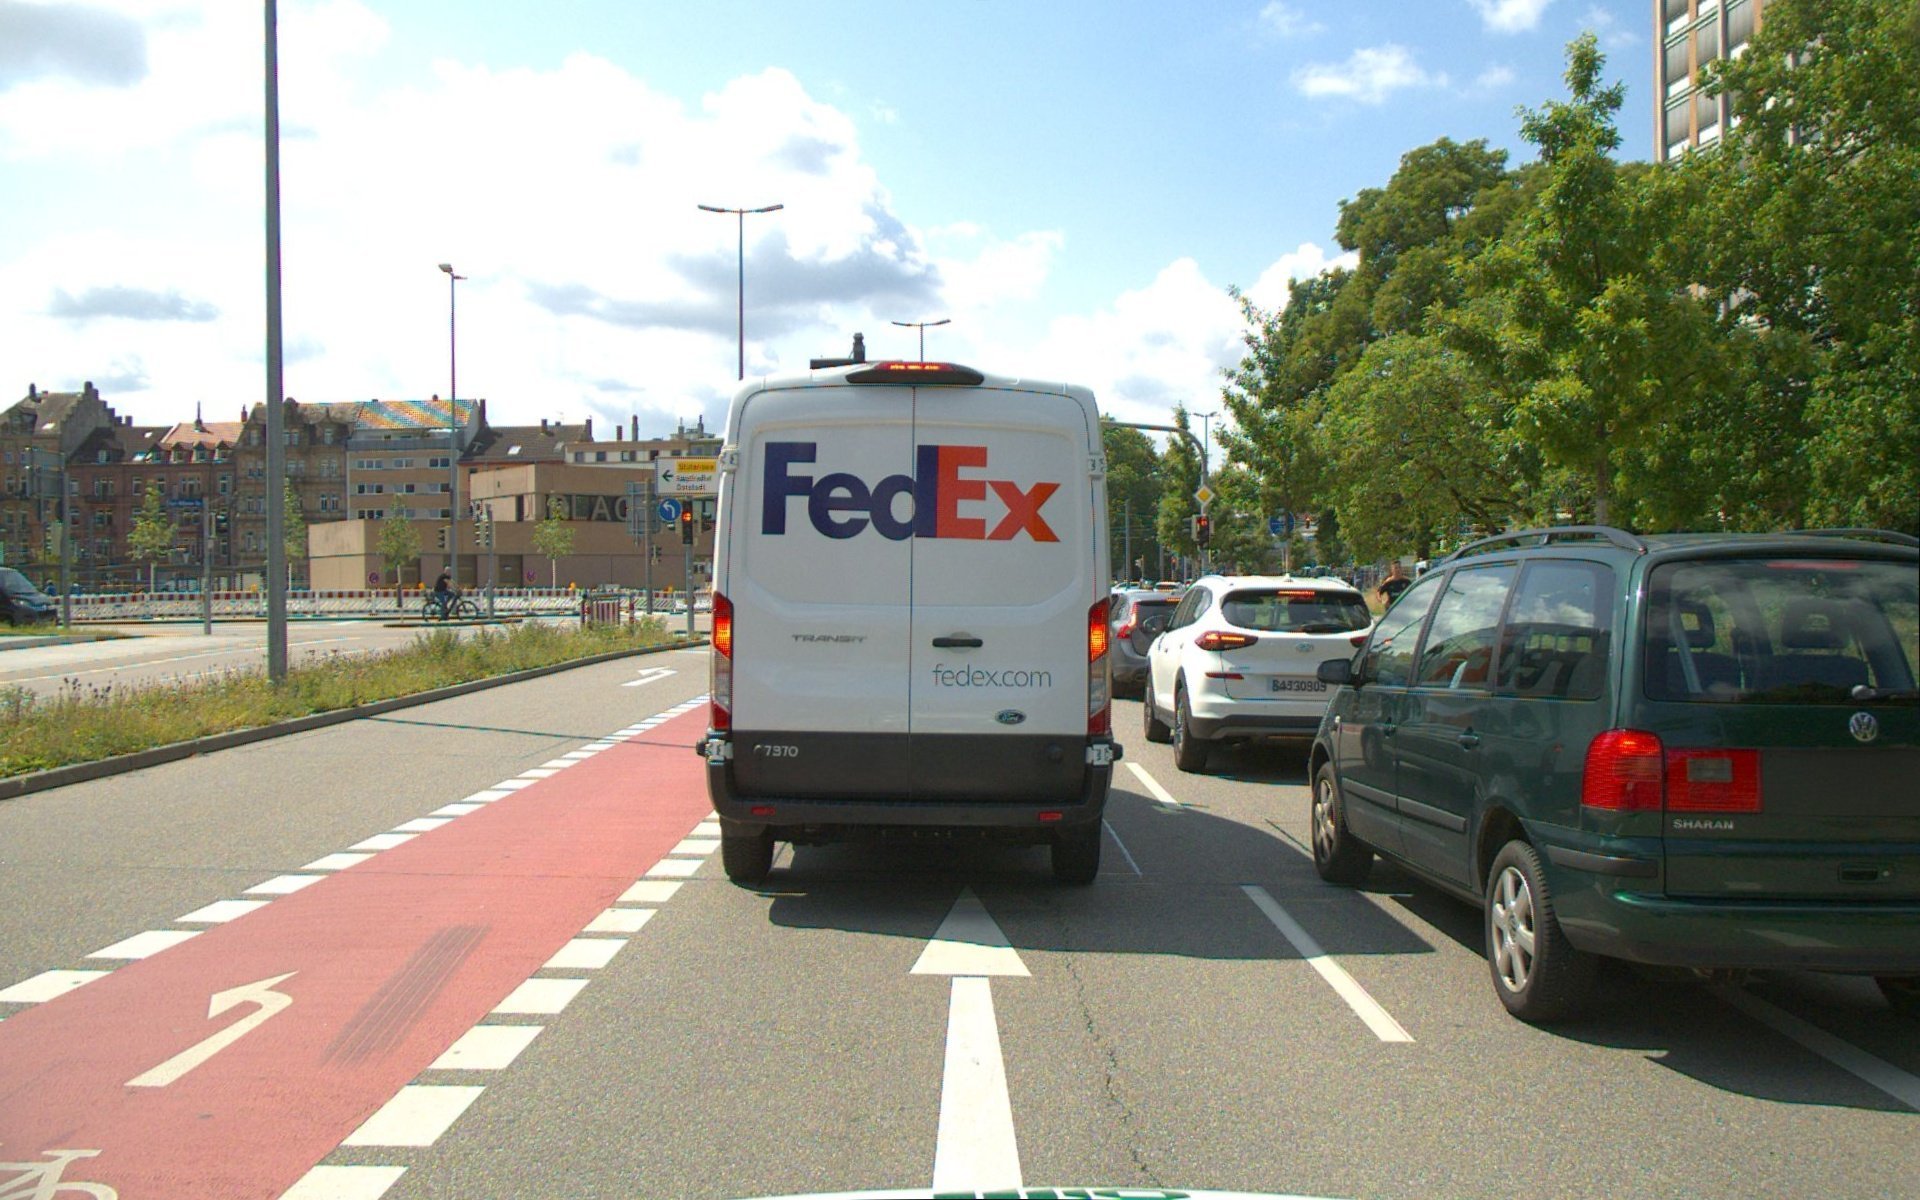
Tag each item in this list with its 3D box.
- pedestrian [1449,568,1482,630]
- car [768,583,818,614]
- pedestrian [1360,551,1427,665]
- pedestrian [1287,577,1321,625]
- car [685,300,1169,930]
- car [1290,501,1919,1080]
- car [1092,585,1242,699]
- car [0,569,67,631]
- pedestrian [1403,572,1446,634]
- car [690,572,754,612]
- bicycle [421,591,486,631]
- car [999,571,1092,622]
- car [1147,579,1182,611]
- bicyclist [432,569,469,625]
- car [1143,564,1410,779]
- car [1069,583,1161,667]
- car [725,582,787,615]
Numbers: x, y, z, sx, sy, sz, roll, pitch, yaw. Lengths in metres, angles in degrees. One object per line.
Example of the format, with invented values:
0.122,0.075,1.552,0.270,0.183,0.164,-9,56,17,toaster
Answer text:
17.172,-0.050,56.164,0.727,2.094,0.843,-1,0,-17,pedestrian
-9.117,-0.084,90.513,1.839,1.680,4.003,-1,0,7,car
7.407,0.131,28.282,0.931,1.925,0.773,0,0,-1,pedestrian
10.139,0.022,48.715,0.827,1.413,0.741,0,0,-1,pedestrian
-0.361,0.051,10.022,2.098,2.699,5.698,0,0,-5,car
2.810,0.561,7.261,1.775,1.764,4.388,0,1,-1,car
2.910,0.540,23.906,1.760,1.486,3.839,0,1,1,car
-31.046,0.009,51.884,4.910,1.911,1.927,0,1,-4,car
11.836,0.078,42.157,0.827,1.565,0.835,0,0,-1,pedestrian
-12.347,-0.410,85.924,1.951,2.049,4.003,-1,0,14,car
-17.148,0.370,56.061,2.026,1.312,0.603,0,0,-9,bicycle
3.636,-0.144,69.537,2.054,2.049,4.635,-1,0,30,car
11.903,-0.269,96.055,1.951,1.825,4.375,-1,0,7,car
-17.261,-0.117,56.042,1.098,1.877,0.592,-1,1,-8,bicyclist
2.749,0.545,15.219,1.760,1.717,4.001,0,1,1,car
2.820,0.427,30.637,1.454,1.453,3.433,0,1,1,car
-10.359,-0.074,84.307,1.860,1.613,4.003,-1,0,13,car
